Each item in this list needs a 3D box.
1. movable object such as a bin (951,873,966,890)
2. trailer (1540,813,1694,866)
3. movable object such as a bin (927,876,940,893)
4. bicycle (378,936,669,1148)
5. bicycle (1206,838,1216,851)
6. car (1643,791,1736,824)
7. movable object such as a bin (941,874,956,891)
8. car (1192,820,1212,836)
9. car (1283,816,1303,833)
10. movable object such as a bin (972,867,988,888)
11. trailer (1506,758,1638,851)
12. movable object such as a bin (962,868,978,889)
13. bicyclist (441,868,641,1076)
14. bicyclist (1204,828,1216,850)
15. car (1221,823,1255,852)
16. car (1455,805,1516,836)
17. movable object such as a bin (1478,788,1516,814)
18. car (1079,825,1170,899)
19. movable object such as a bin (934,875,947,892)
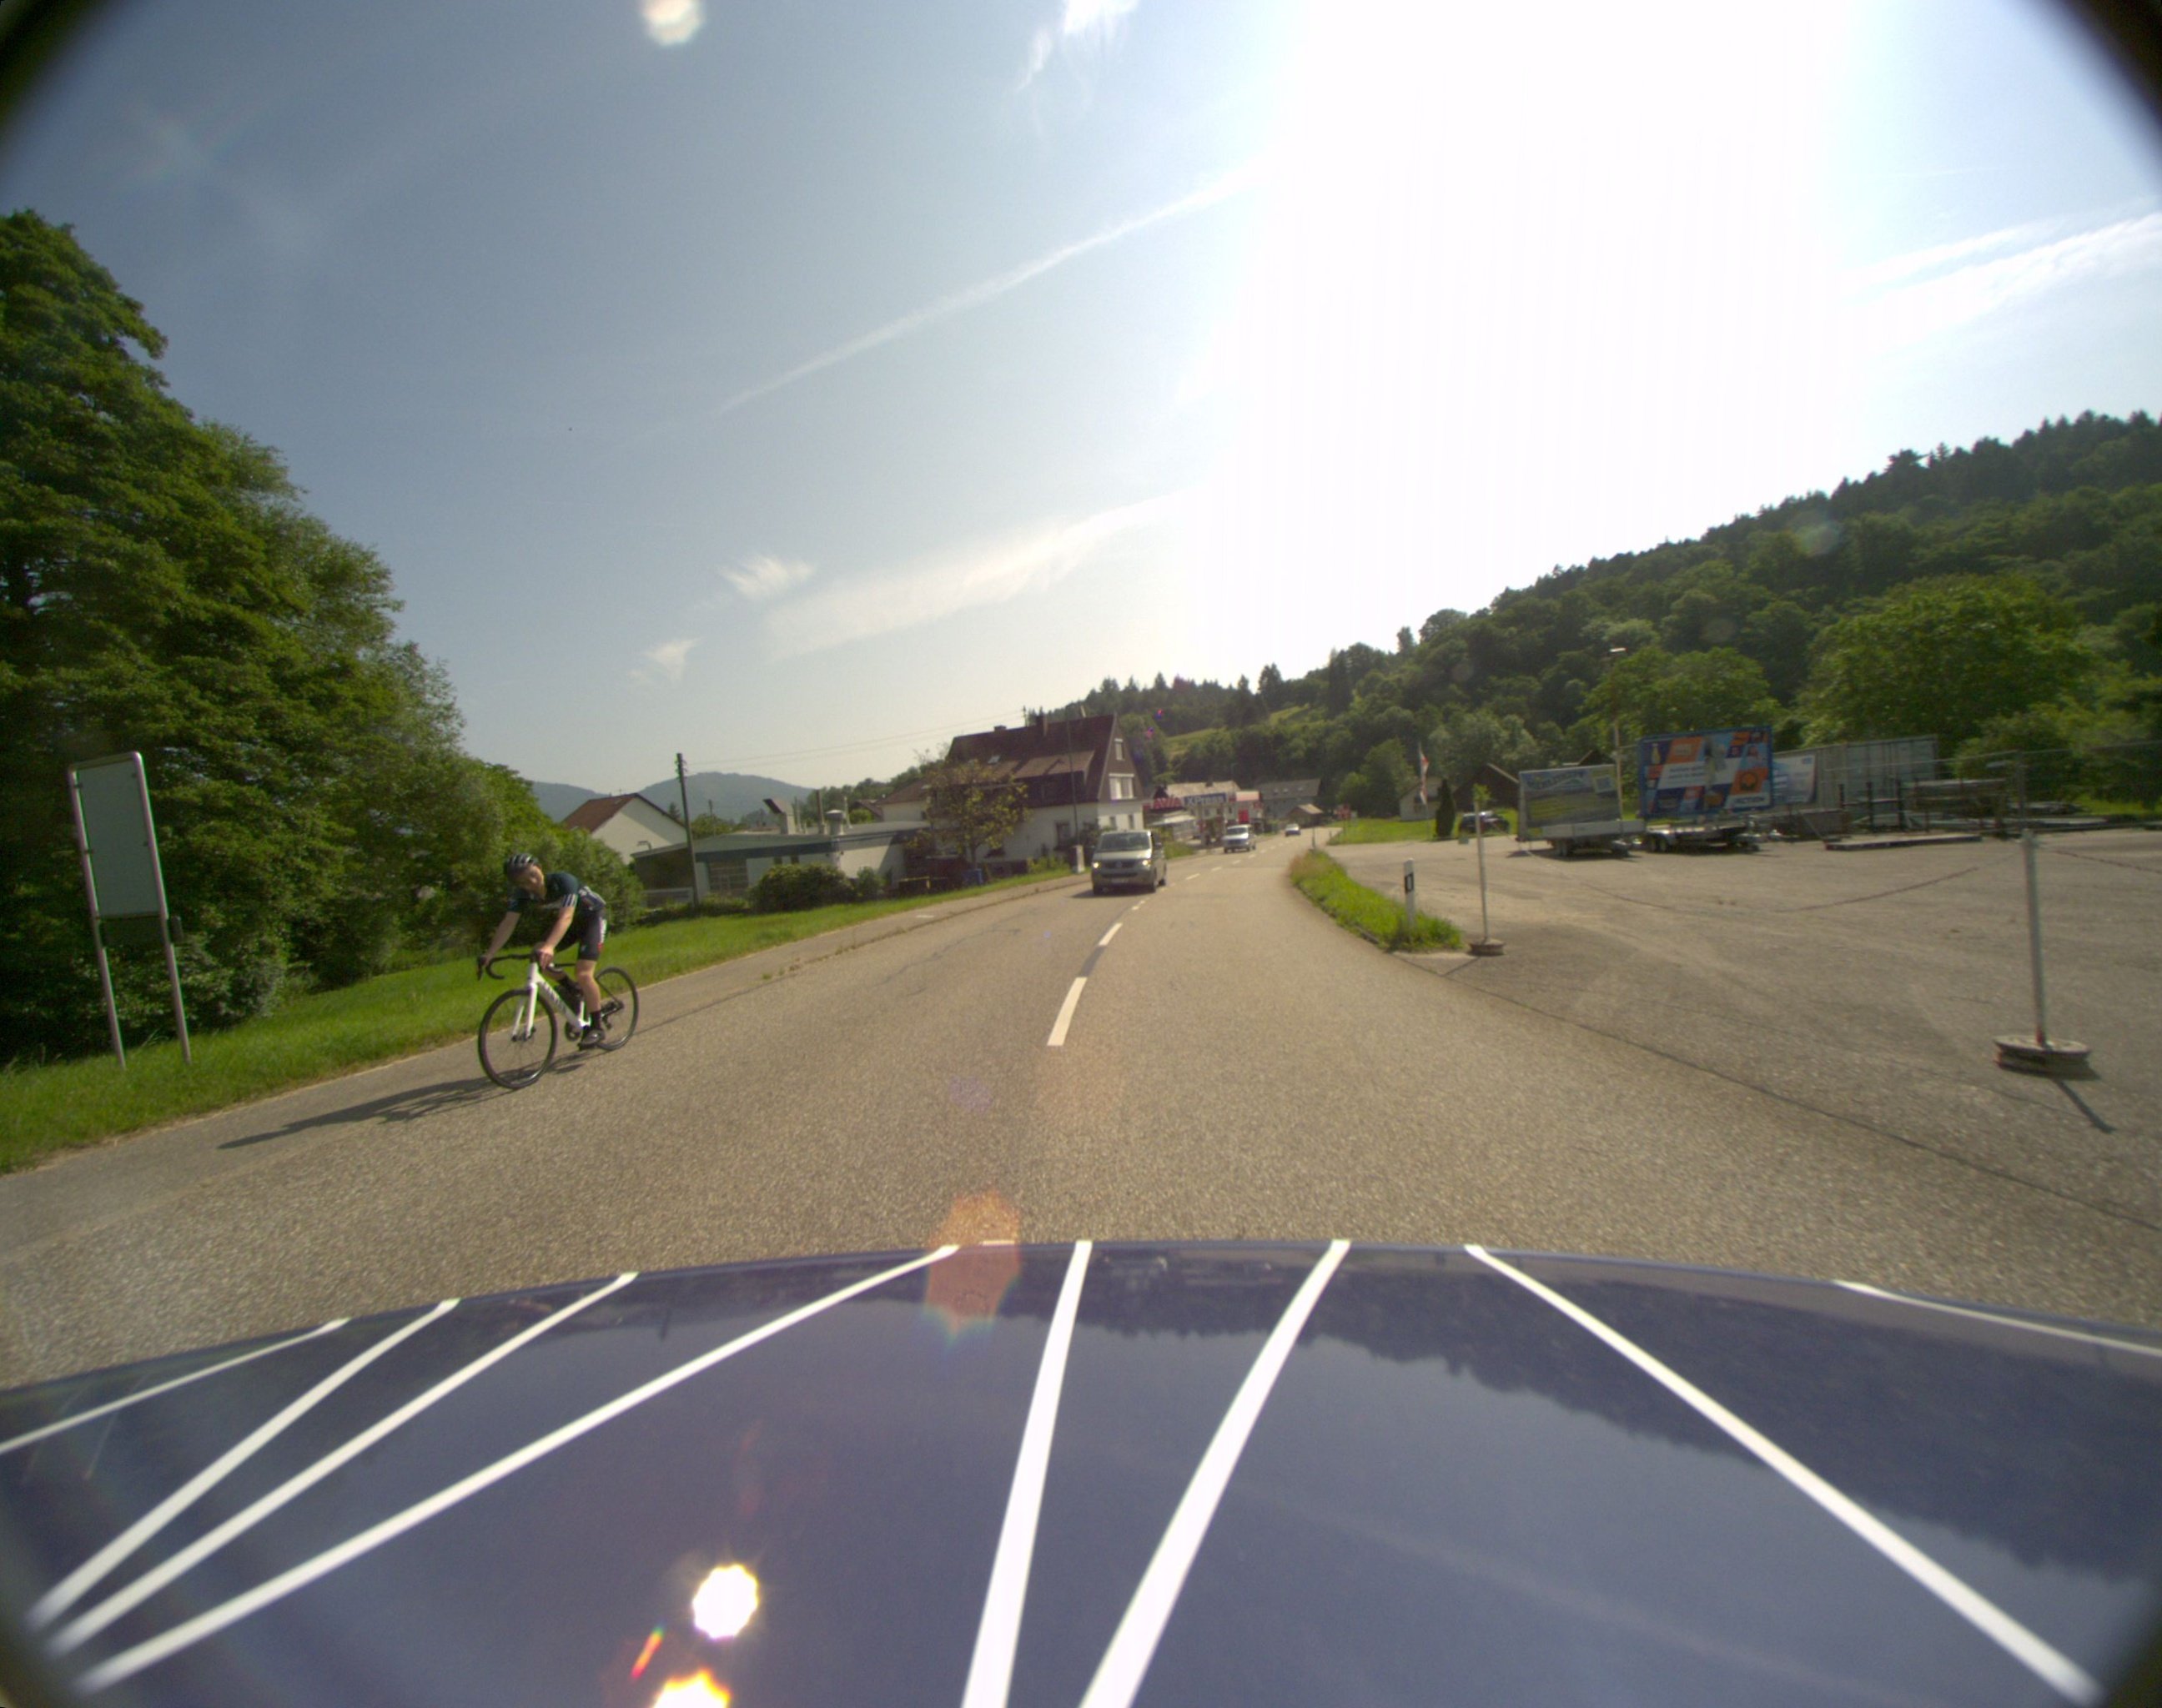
[{"bbox_3d":[-7.013,1.578,43.538,0.569,0.895,0.586,-6,2,11],"label":"movable object such as a bin"},{"bbox_3d":[15.918,-0.520,22.991,1.996,1.219,5.550,-6,1,16],"label":"trailer"},{"bbox_3d":[-8.498,1.740,43.841,0.419,0.895,0.586,-6,2,11],"label":"movable object such as a bin"},{"bbox_3d":[-3.913,1.249,5.590,0.581,1.029,1.990,-1,1,2],"label":"bicycle"},{"bbox_3d":[10.258,-0.729,60.068,0.689,0.912,1.951,-7,-1,10],"label":"bicycle"},{"bbox_3d":[34.902,-2.669,43.721,3.923,1.476,1.920,-4,1,34],"label":"car"},{"bbox_3d":[-7.589,1.641,43.645,0.569,0.895,0.586,-6,2,11],"label":"movable object such as a bin"},{"bbox_3d":[16.081,-3.501,100.665,1.682,1.806,4.003,-6,2,20],"label":"car"},{"bbox_3d":[26.285,-3.683,94.040,1.765,1.736,3.983,-5,3,22],"label":"car"},{"bbox_3d":[-5.749,1.330,43.309,0.569,1.112,0.793,-6,2,11],"label":"movable object such as a bin"},{"bbox_3d":[17.731,-1.747,27.624,3.397,2.895,1.885,-6,2,13],"label":"trailer"},{"bbox_3d":[-6.329,1.393,43.415,0.569,1.112,0.799,-6,2,11],"label":"movable object such as a bin"},{"bbox_3d":[-3.913,0.797,5.617,0.581,1.335,1.145,-1,1,2],"label":"bicyclist"},{"bbox_3d":[10.215,-1.185,60.121,0.689,1.623,1.141,-7,0,10],"label":"bicyclist"},{"bbox_3d":[11.622,-1.267,55.972,1.894,1.847,4.707,-4,2,17],"label":"car"},{"bbox_3d":[26.451,-2.207,49.652,4.915,1.639,1.831,-6,2,-42],"label":"car"},{"bbox_3d":[57.351,-7.264,104.698,4.182,3.120,2.206,-4,2,35],"label":"movable object such as a bin"},{"bbox_3d":[1.542,0.144,24.363,2.022,1.971,5.051,-4,2,12],"label":"car"},{"bbox_3d":[-8.078,1.694,43.752,0.419,0.895,0.586,-6,2,11],"label":"movable object such as a bin"}]
